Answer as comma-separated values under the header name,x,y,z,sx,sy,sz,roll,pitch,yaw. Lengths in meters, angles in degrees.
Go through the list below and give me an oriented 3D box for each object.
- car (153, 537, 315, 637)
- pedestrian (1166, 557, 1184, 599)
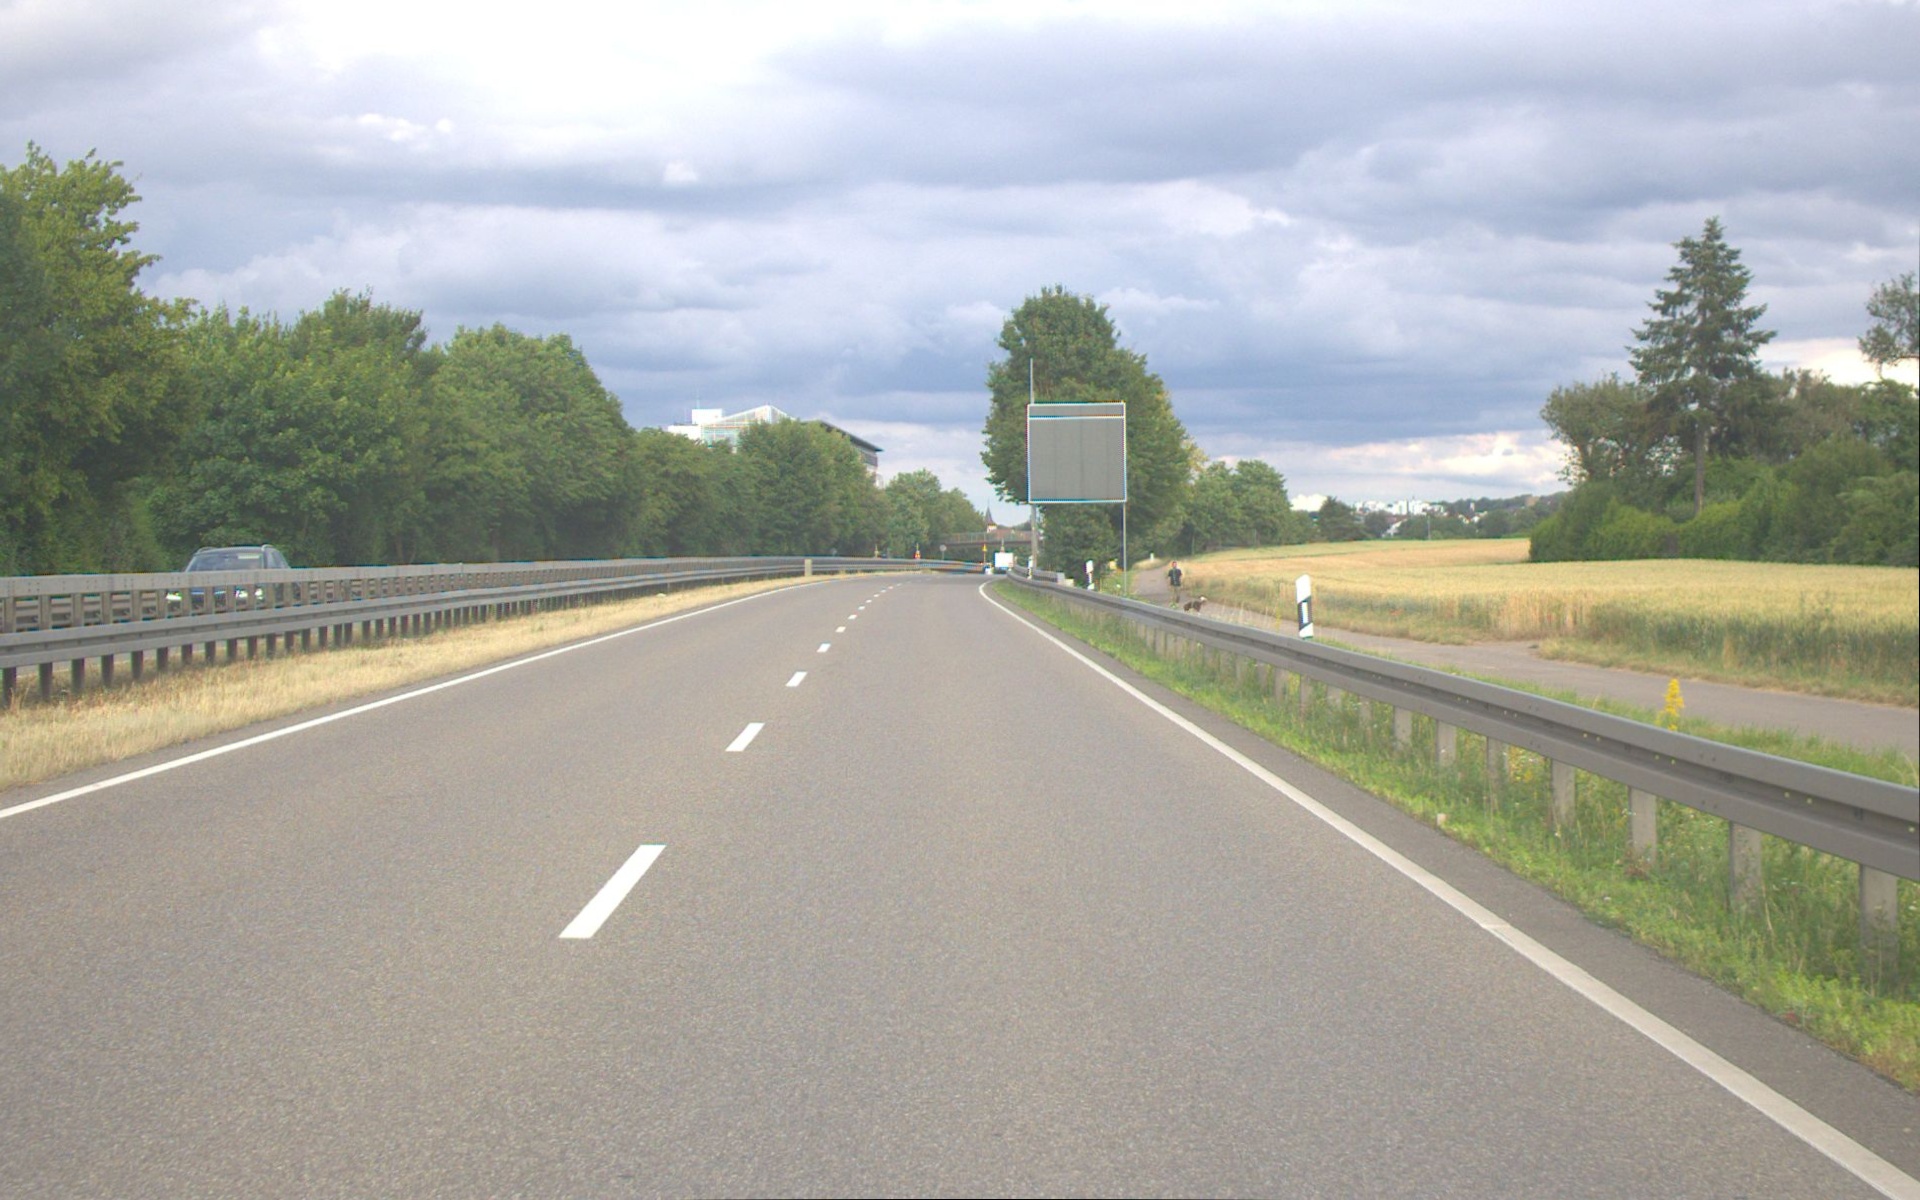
name,x,y,z,sx,sy,sz,roll,pitch,yaw
car,-12.583,-0.254,59.850,1.797,1.620,4.483,-2,1,1
pedestrian,8.657,-0.875,138.457,0.601,1.660,0.543,1,1,-2
